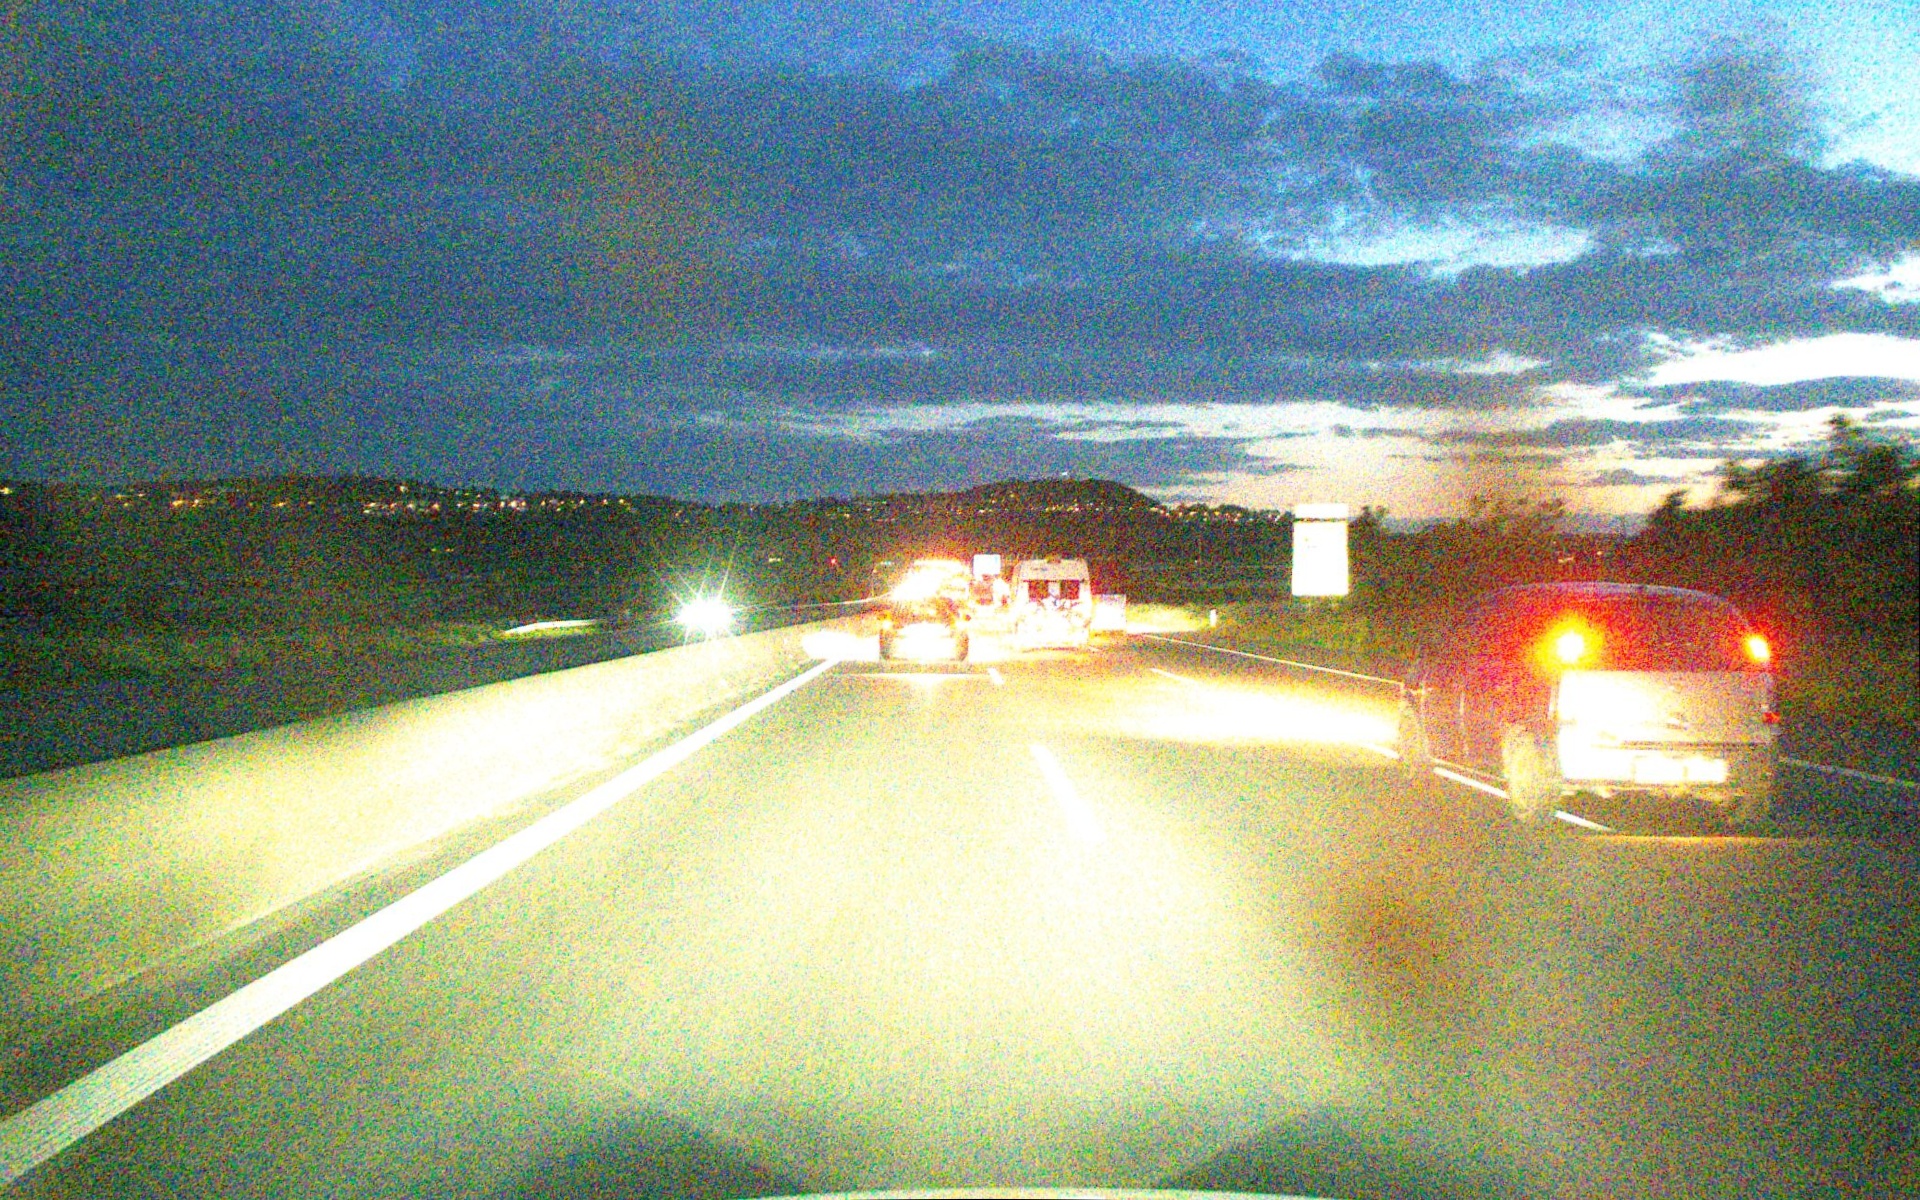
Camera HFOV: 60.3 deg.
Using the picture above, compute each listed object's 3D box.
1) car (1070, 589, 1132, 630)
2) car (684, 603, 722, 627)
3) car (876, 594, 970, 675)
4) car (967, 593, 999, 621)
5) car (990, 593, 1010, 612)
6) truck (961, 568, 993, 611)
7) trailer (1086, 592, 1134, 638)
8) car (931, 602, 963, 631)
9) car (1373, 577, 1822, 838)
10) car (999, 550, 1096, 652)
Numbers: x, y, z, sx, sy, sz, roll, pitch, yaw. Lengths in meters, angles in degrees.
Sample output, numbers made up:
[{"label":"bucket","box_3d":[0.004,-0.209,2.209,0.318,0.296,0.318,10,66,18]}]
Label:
[{"label":"car","box_3d":[5.622,0.348,66.497,2.118,1.591,4.722,0,0,0]},{"label":"car","box_3d":[-17.407,0.996,112.197,1.954,1.444,4.981,-3,0,-2]},{"label":"car","box_3d":[-0.694,0.648,33.055,1.757,1.494,3.773,0,1,0]},{"label":"car","box_3d":[1.668,0.508,122.525,2.303,1.947,4.722,-1,0,0]},{"label":"car","box_3d":[4.781,0.276,198.618,2.303,2.112,4.722,-1,1,0]},{"label":"truck","box_3d":[1.601,-0.975,158.553,2.725,4.024,7.990,-1,0,-2]},{"label":"trailer","box_3d":[5.675,0.556,62.830,1.534,1.723,2.820,0,0,-1]},{"label":"car","box_3d":[-0.729,0.889,91.519,1.709,1.465,4.367,-1,1,0]},{"label":"car","box_3d":[4.551,0.672,12.590,1.613,1.624,4.508,0,0,-1]},{"label":"car","box_3d":[2.309,-0.013,45.180,2.303,2.579,5.701,-1,1,0]}]
